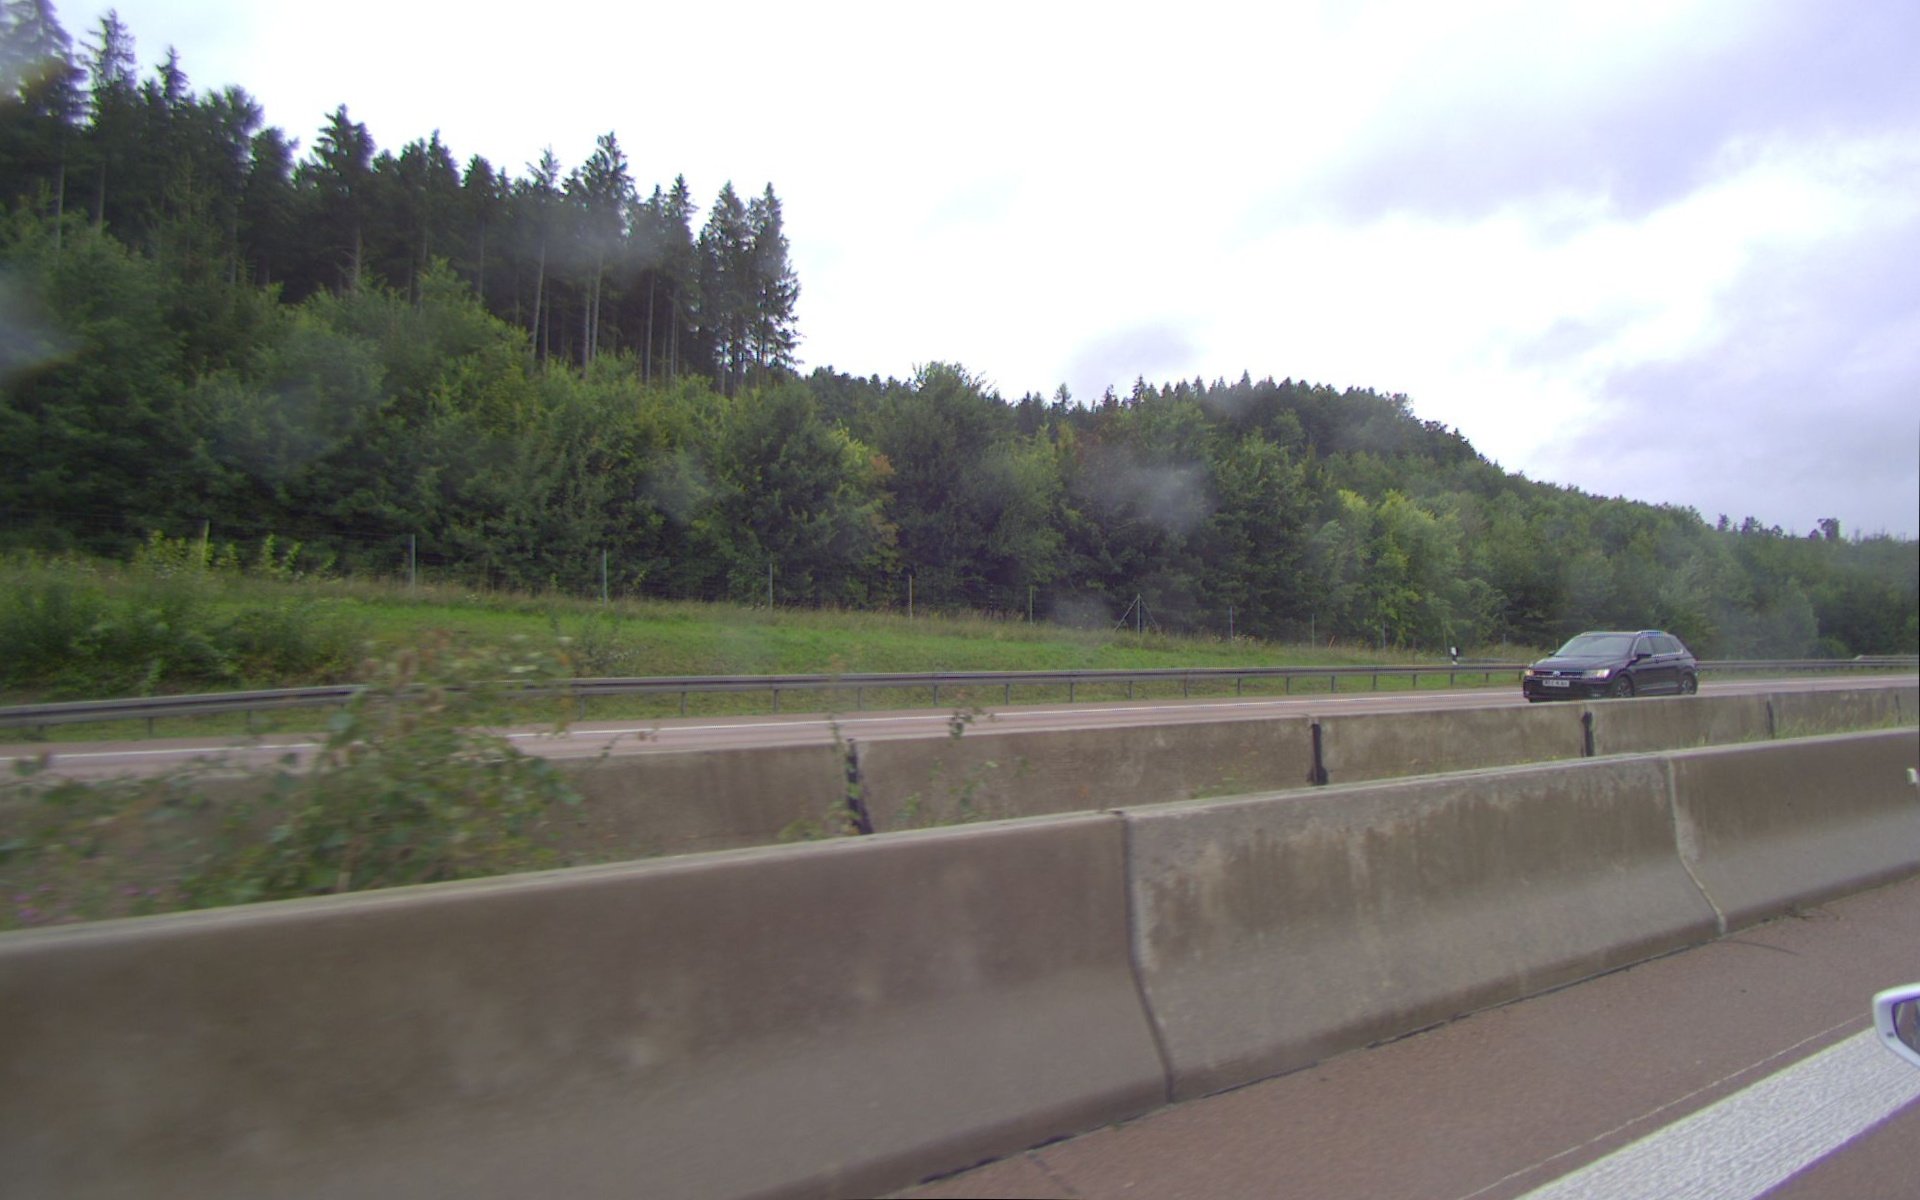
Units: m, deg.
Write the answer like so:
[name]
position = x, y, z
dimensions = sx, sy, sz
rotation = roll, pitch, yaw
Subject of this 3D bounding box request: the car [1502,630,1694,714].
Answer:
[car]
position = 13.522, 1.495, 21.227
dimensions = 4.267, 1.603, 1.707
rotation = 3, -2, -31
